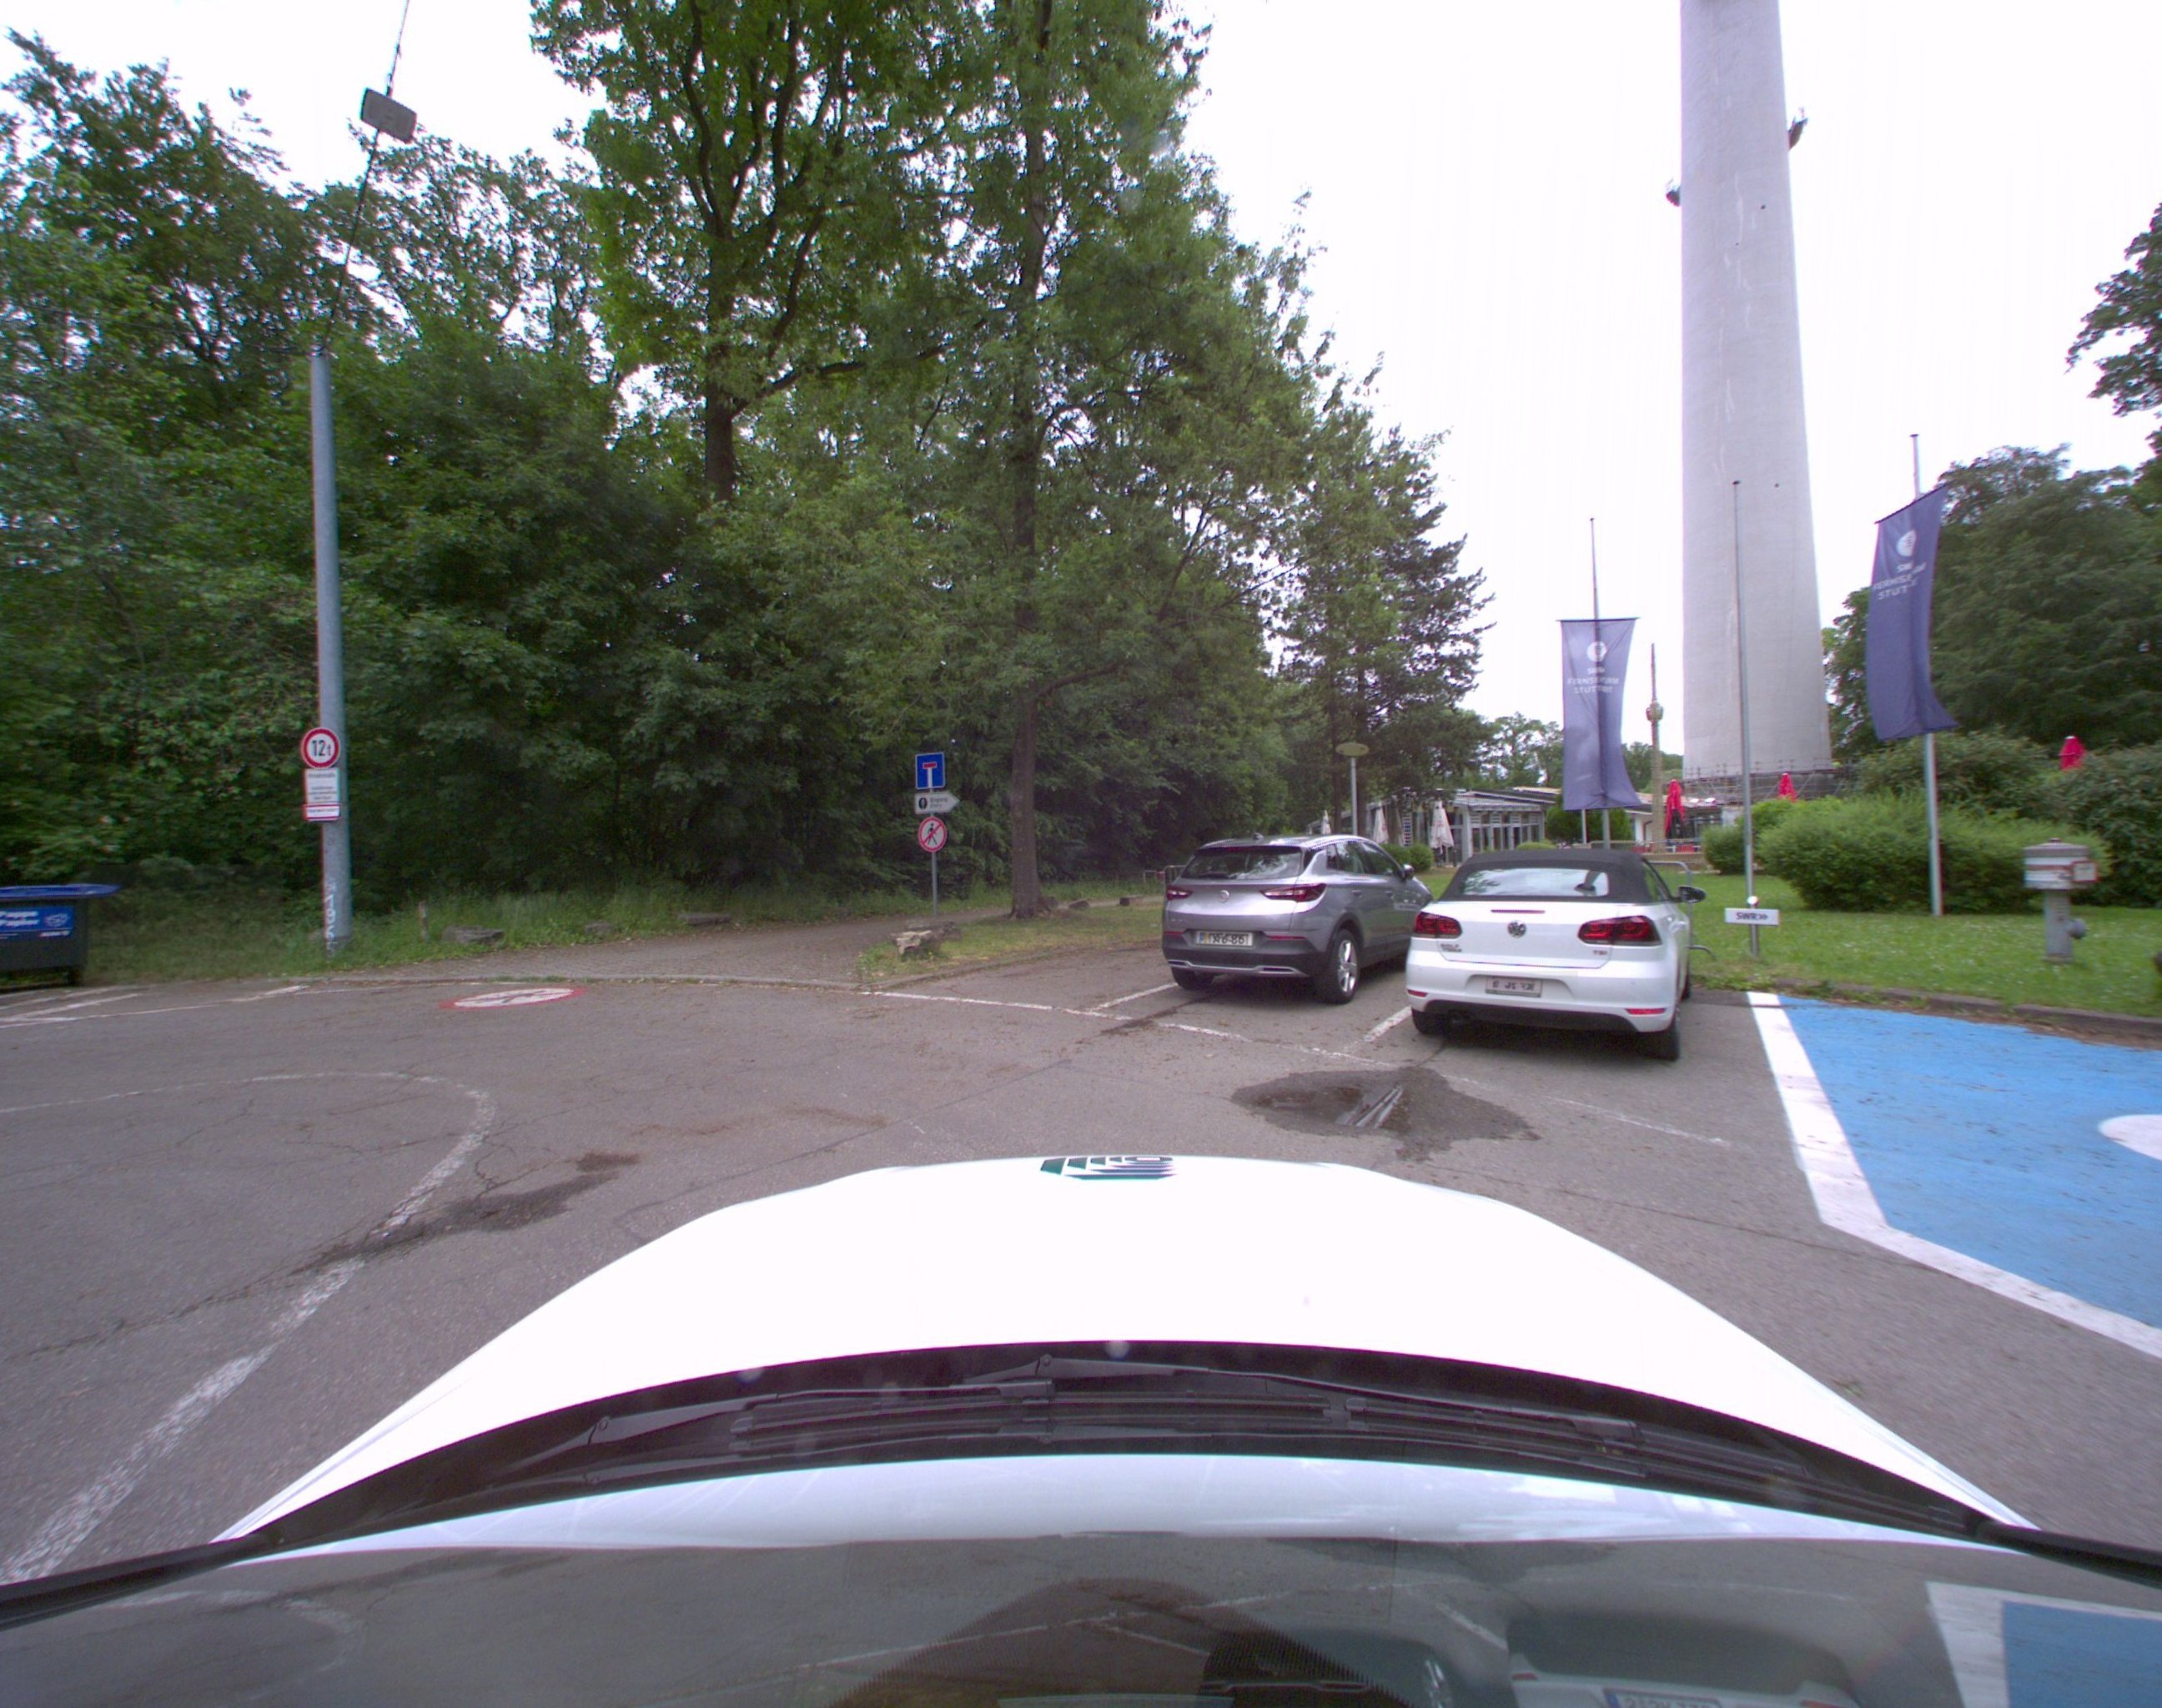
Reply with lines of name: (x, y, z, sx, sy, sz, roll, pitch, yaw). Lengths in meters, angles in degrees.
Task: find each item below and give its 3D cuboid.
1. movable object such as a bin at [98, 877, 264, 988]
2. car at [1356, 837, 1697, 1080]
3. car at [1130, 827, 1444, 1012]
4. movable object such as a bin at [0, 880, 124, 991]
movable object such as a bin: (-11.932, 0.999, 10.819, 1.241, 1.325, 1.153, -2, 0, 25)
car: (4.015, 0.599, 6.964, 1.875, 1.428, 4.026, -1, 0, 38)
car: (2.494, 0.539, 9.110, 1.875, 1.585, 4.025, -1, 0, 39)
movable object such as a bin: (-13.473, 1.020, 10.546, 1.112, 1.320, 1.248, -2, 0, 33)
